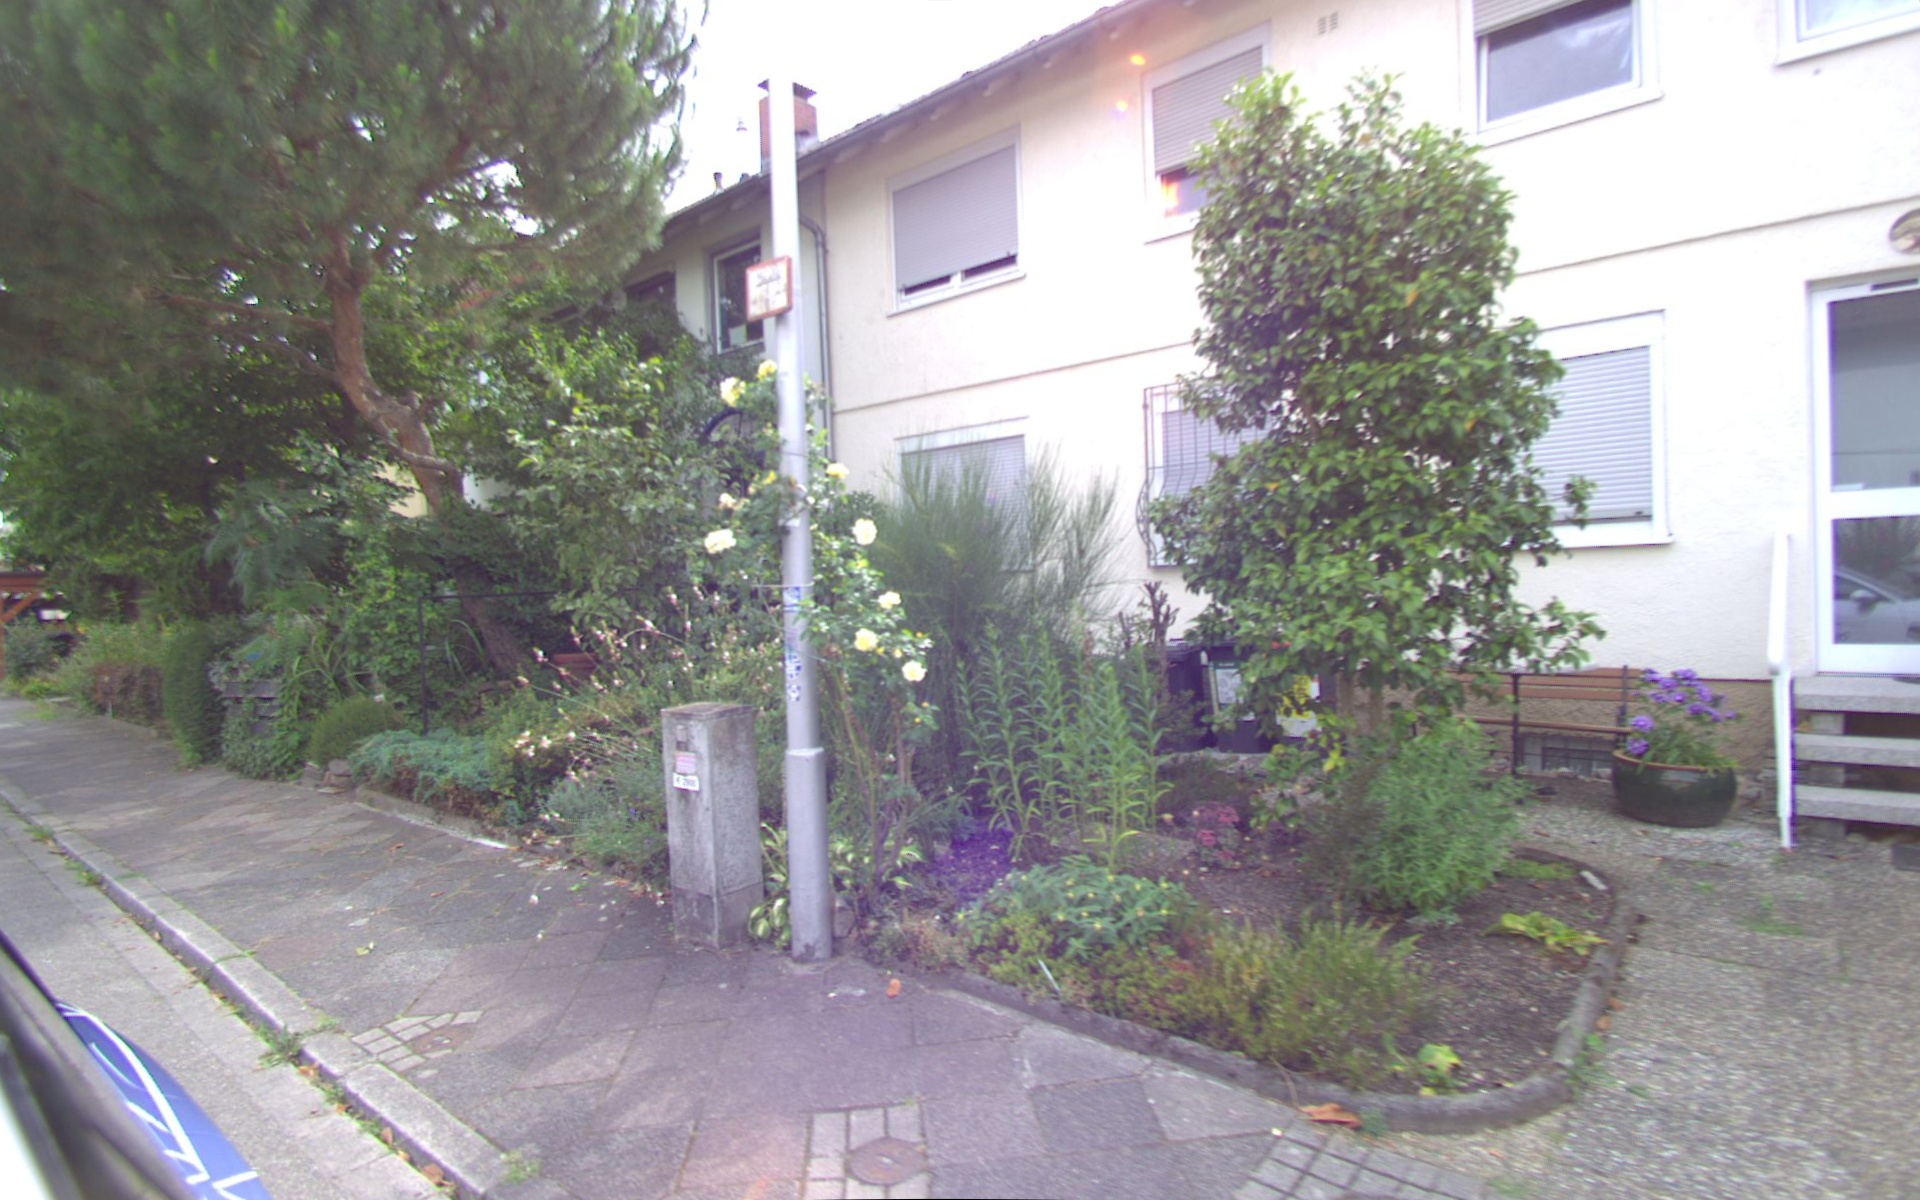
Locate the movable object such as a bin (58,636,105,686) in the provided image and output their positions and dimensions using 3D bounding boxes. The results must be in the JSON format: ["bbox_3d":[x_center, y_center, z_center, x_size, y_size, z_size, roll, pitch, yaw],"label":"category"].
[{"bbox_3d":[-20.875,1.435,24.045,0.877,1.138,0.697,-2,-1,40],"label":"movable object such as a bin"}]

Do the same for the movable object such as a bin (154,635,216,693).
[{"bbox_3d":[-13.710,1.115,17.901,0.750,0.964,0.704,-2,0,40],"label":"movable object such as a bin"}]

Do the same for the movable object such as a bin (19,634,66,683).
[{"bbox_3d":[-21.309,1.340,23.514,0.821,1.079,0.697,-2,-1,40],"label":"movable object such as a bin"}]
